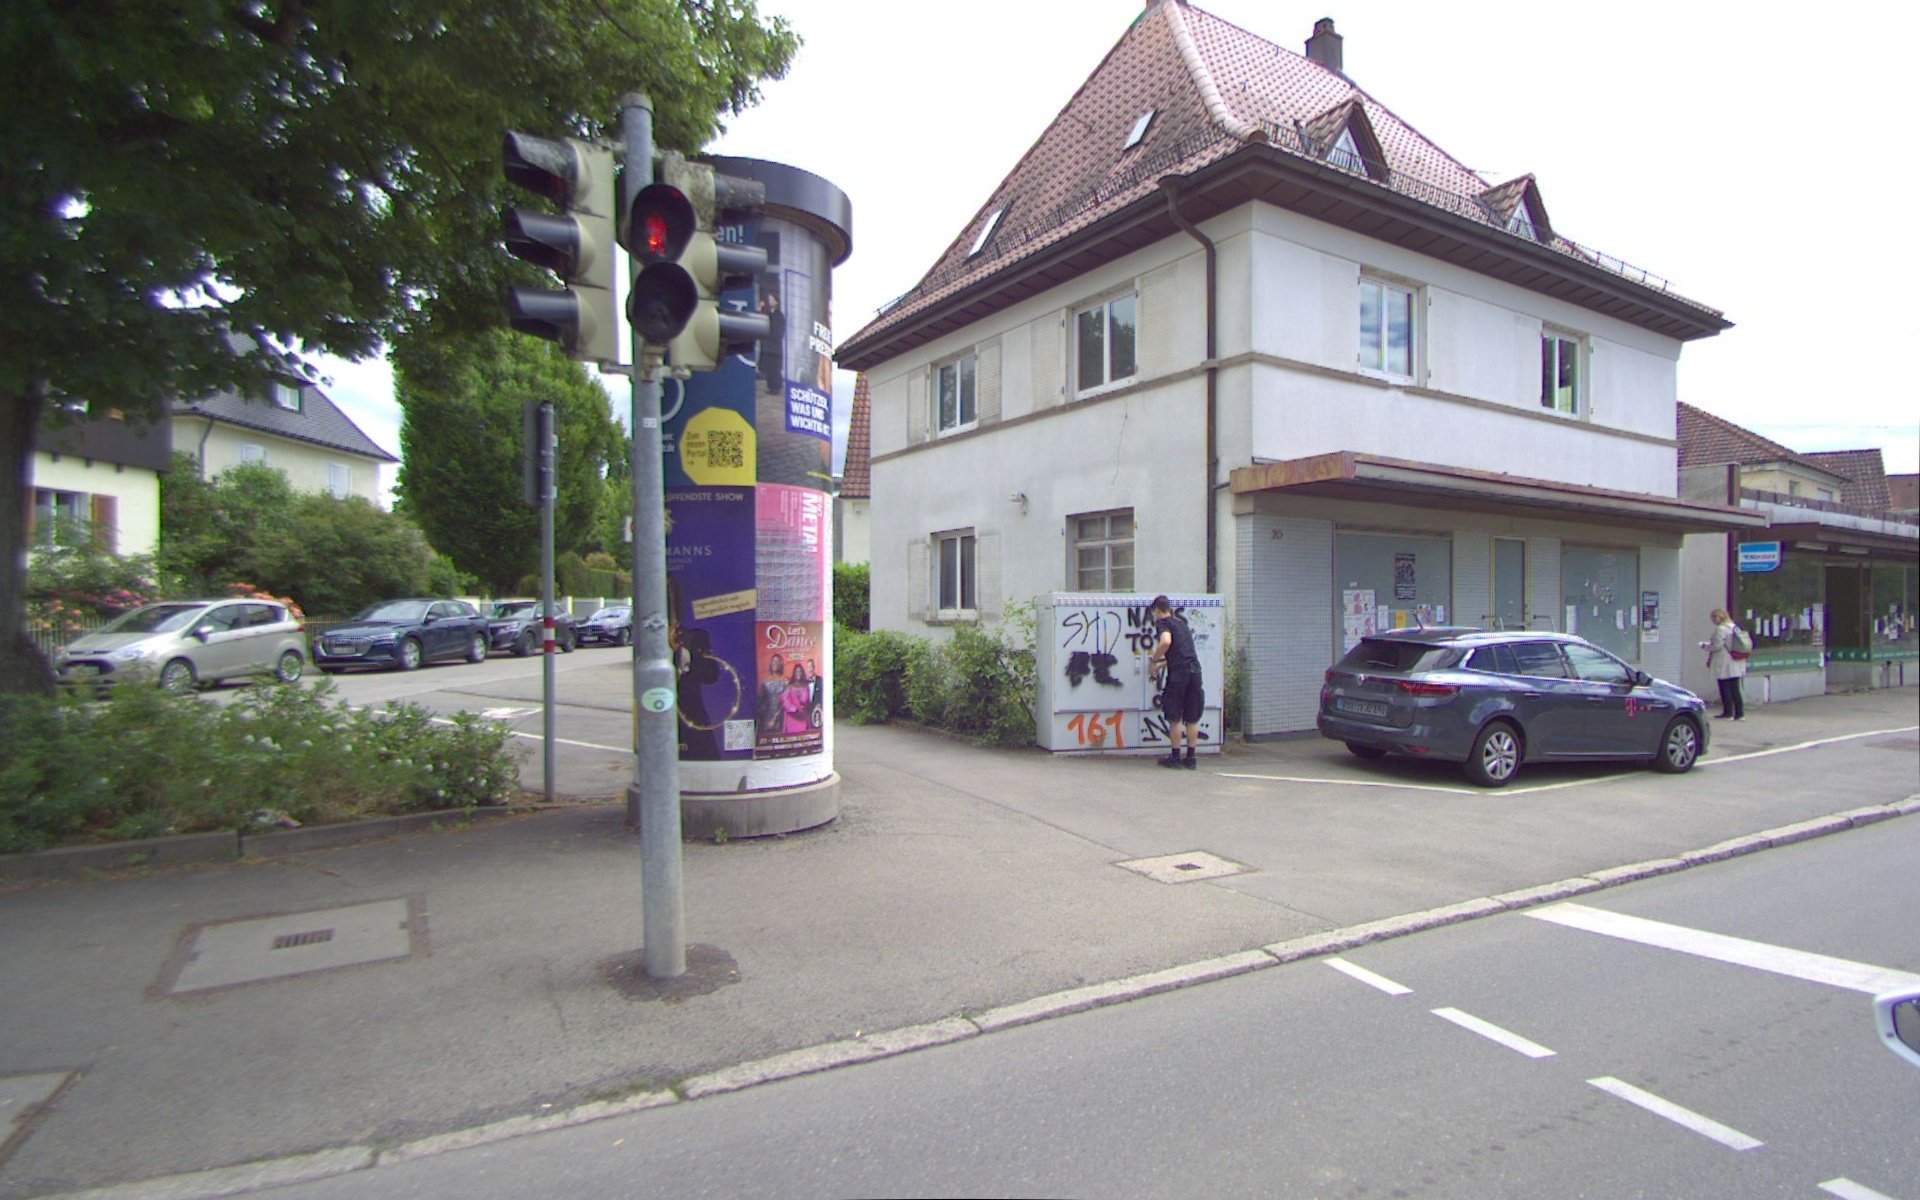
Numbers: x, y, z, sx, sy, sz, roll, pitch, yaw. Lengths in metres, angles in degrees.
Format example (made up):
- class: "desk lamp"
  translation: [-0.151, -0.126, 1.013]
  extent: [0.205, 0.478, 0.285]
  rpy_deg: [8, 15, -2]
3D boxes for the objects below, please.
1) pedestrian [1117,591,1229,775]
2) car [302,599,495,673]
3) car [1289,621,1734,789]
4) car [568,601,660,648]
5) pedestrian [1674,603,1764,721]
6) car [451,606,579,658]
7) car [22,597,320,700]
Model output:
- class: "pedestrian"
  translation: [2.112, 0.793, 10.057]
  extent: [0.748, 1.741, 0.886]
  rpy_deg: [1, 1, -15]
- class: "car"
  translation: [-12.678, 0.771, 23.048]
  extent: [1.889, 1.514, 4.435]
  rpy_deg: [-1, -1, 1]
- class: "car"
  translation: [5.951, 1.045, 10.829]
  extent: [4.460, 1.461, 1.776]
  rpy_deg: [2, 0, -22]
- class: "car"
  translation: [-12.139, 0.838, 35.473]
  extent: [1.719, 1.543, 3.817]
  rpy_deg: [-1, -1, 3]
- class: "pedestrian"
  translation: [12.071, 0.958, 15.974]
  extent: [0.954, 1.774, 0.876]
  rpy_deg: [1, 0, -36]
- class: "car"
  translation: [-12.606, 0.888, 28.743]
  extent: [1.701, 1.361, 3.980]
  rpy_deg: [-1, -1, 3]
- class: "car"
  translation: [-13.218, 0.759, 17.188]
  extent: [1.795, 1.509, 3.980]
  rpy_deg: [-2, -1, 3]
